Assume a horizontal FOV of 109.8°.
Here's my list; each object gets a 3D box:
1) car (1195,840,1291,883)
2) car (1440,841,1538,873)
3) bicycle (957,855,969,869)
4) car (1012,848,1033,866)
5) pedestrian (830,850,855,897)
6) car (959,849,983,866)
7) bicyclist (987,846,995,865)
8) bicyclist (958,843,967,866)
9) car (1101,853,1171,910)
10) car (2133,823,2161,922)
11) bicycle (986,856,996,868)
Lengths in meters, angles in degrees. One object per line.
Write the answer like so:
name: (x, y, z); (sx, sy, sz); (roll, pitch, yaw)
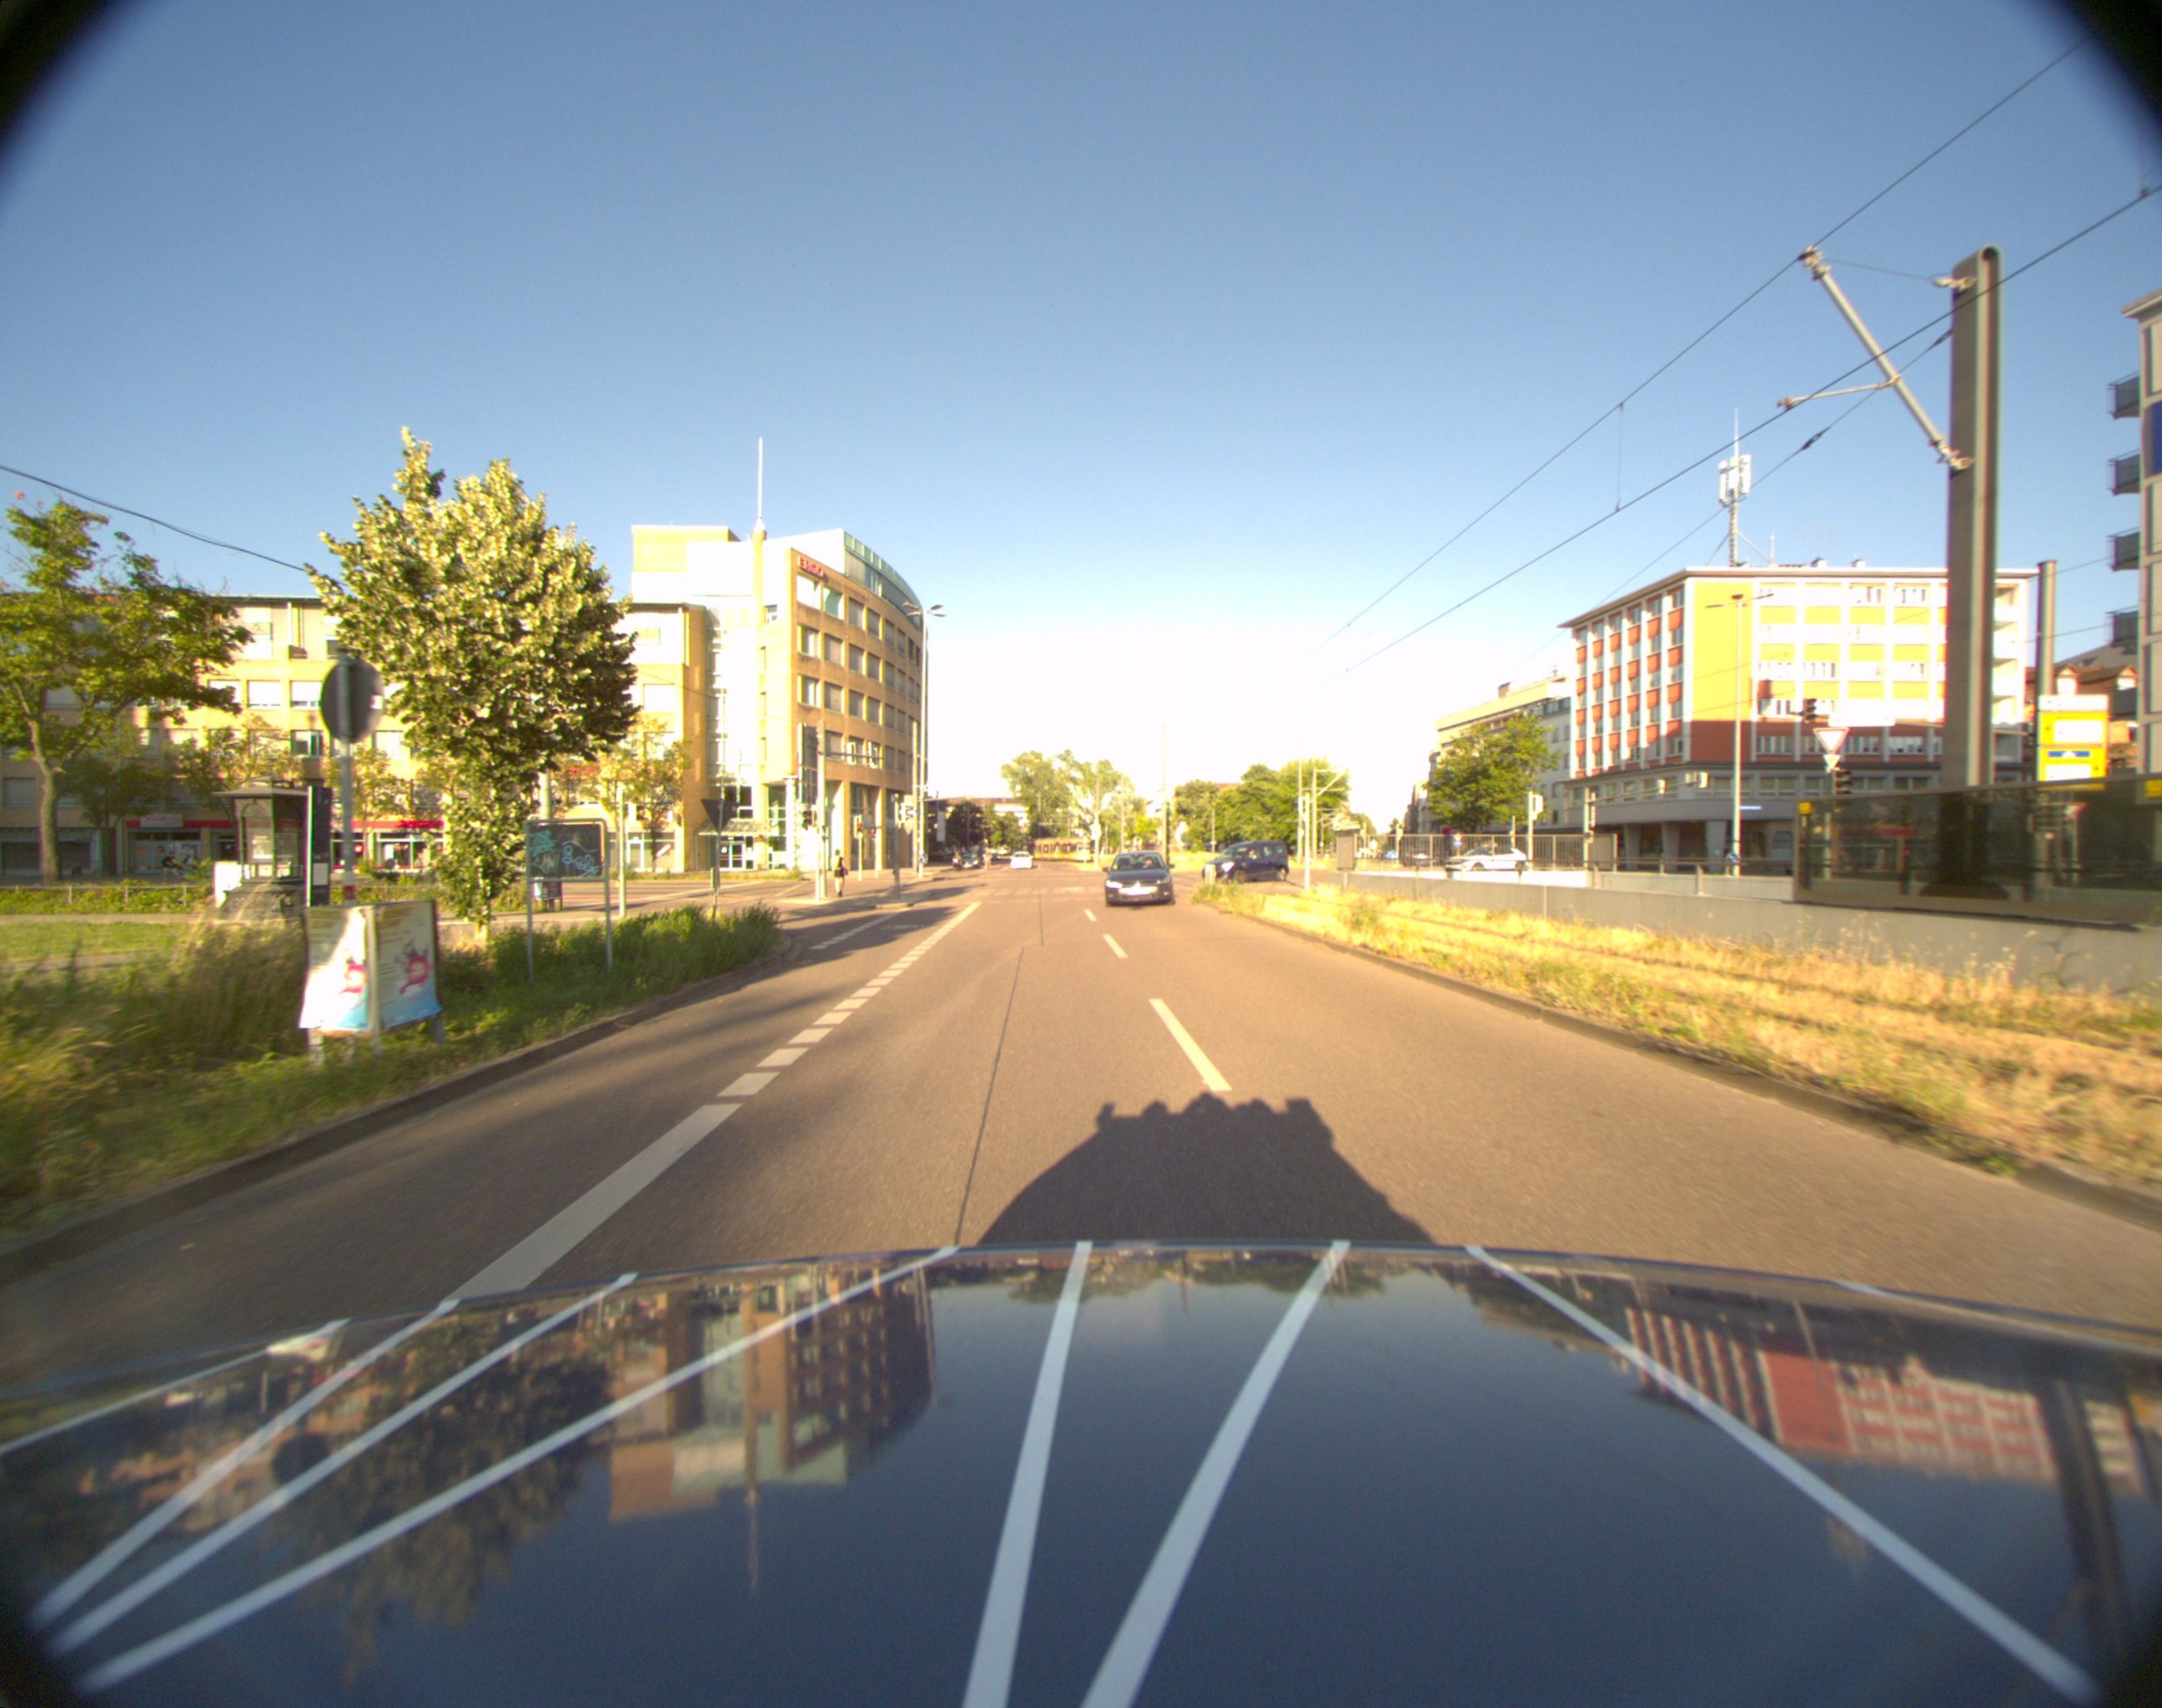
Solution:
car: (6.981, 0.266, 32.563); (4.155, 1.722, 1.766); (-1, 1, -38)
car: (20.884, 0.133, 38.950); (4.280, 1.528, 1.832); (-1, 1, -13)
bicycle: (-9.857, 0.655, 63.475); (0.700, 1.044, 1.979); (-2, 0, 1)
car: (-5.190, 0.250, 67.799); (1.770, 1.464, 4.012); (-2, 1, -3)
pedestrian: (-8.674, 0.698, 27.663); (0.651, 1.714, 0.715); (0, 1, 0)
car: (-10.323, 0.337, 71.653); (1.770, 1.464, 4.012); (-2, 1, -3)
bicyclist: (-7.680, 0.134, 64.764); (0.552, 1.600, 0.832); (0, 1, 0)
bicyclist: (-9.885, 0.031, 63.365); (0.578, 1.927, 0.697); (-2, 1, 0)
car: (1.607, 0.684, 21.286); (1.769, 1.418, 4.246); (0, 0, 6)
car: (22.865, 0.390, 13.351); (1.999, 2.002, 4.773); (0, 1, -3)
bicycle: (-7.679, 0.679, 64.724); (0.608, 0.923, 1.776); (0, 0, 1)
